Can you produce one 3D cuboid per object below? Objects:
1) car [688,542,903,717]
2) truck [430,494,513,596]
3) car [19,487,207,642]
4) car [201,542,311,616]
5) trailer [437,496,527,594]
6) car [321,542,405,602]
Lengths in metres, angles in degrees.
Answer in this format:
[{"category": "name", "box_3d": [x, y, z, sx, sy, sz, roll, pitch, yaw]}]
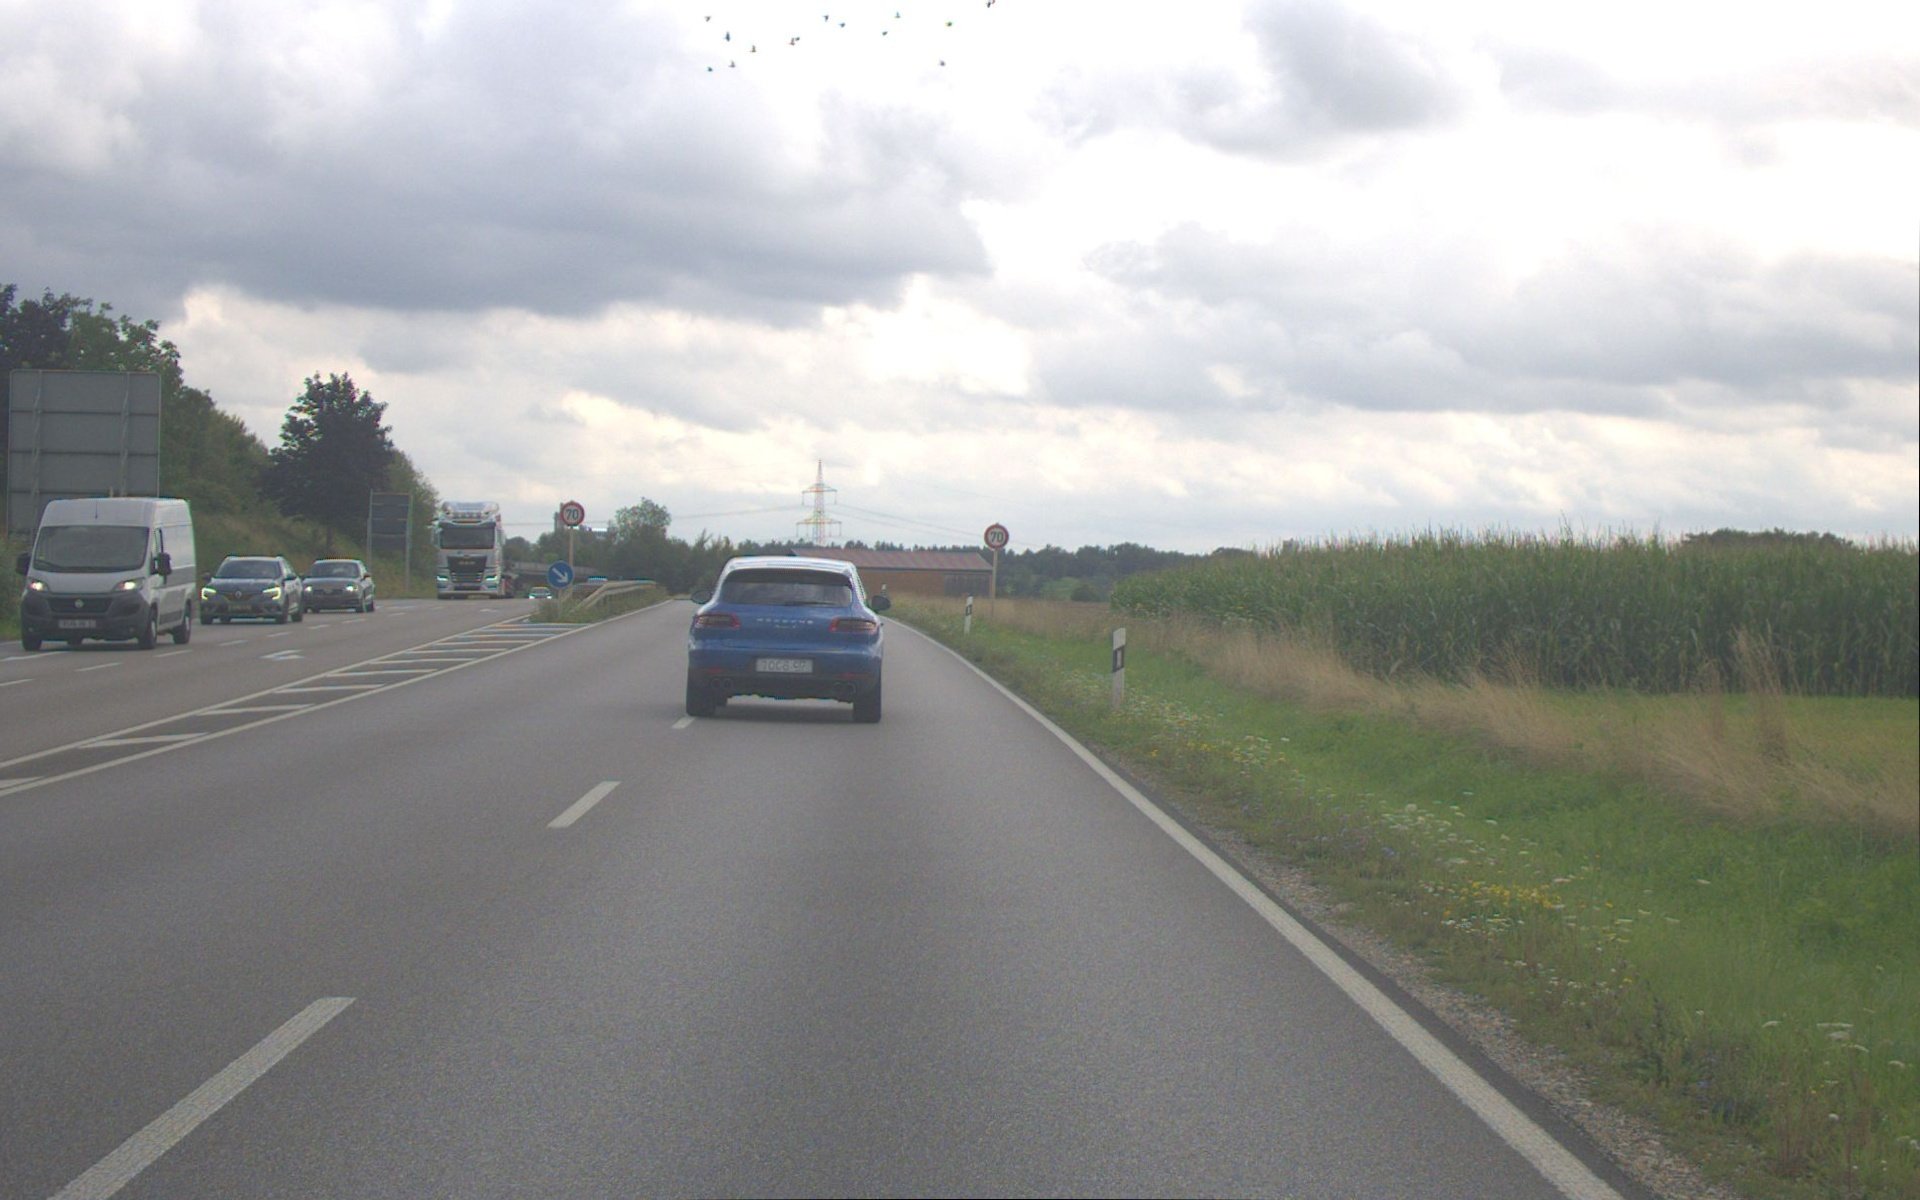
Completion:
[{"category": "car", "box_3d": [-1.717, 0.265, 35.192, 2.033, 1.655, 4.544, 1, 0, -4]}, {"category": "truck", "box_3d": [-19.828, -2.262, 139.825, 2.802, 3.983, 5.287, 2, 1, -3]}, {"category": "car", "box_3d": [-13.860, -0.618, 56.567, 2.033, 2.431, 5.636, 0, 1, -4]}, {"category": "car", "box_3d": [-15.284, -0.488, 74.803, 1.732, 1.525, 4.549, 0, 1, -4]}, {"category": "trailer", "box_3d": [-20.290, -2.395, 146.645, 2.774, 3.933, 12.988, 2, 1, -4]}, {"category": "car", "box_3d": [-15.716, -0.762, 90.694, 1.732, 1.525, 4.194, 0, 1, -4]}]
